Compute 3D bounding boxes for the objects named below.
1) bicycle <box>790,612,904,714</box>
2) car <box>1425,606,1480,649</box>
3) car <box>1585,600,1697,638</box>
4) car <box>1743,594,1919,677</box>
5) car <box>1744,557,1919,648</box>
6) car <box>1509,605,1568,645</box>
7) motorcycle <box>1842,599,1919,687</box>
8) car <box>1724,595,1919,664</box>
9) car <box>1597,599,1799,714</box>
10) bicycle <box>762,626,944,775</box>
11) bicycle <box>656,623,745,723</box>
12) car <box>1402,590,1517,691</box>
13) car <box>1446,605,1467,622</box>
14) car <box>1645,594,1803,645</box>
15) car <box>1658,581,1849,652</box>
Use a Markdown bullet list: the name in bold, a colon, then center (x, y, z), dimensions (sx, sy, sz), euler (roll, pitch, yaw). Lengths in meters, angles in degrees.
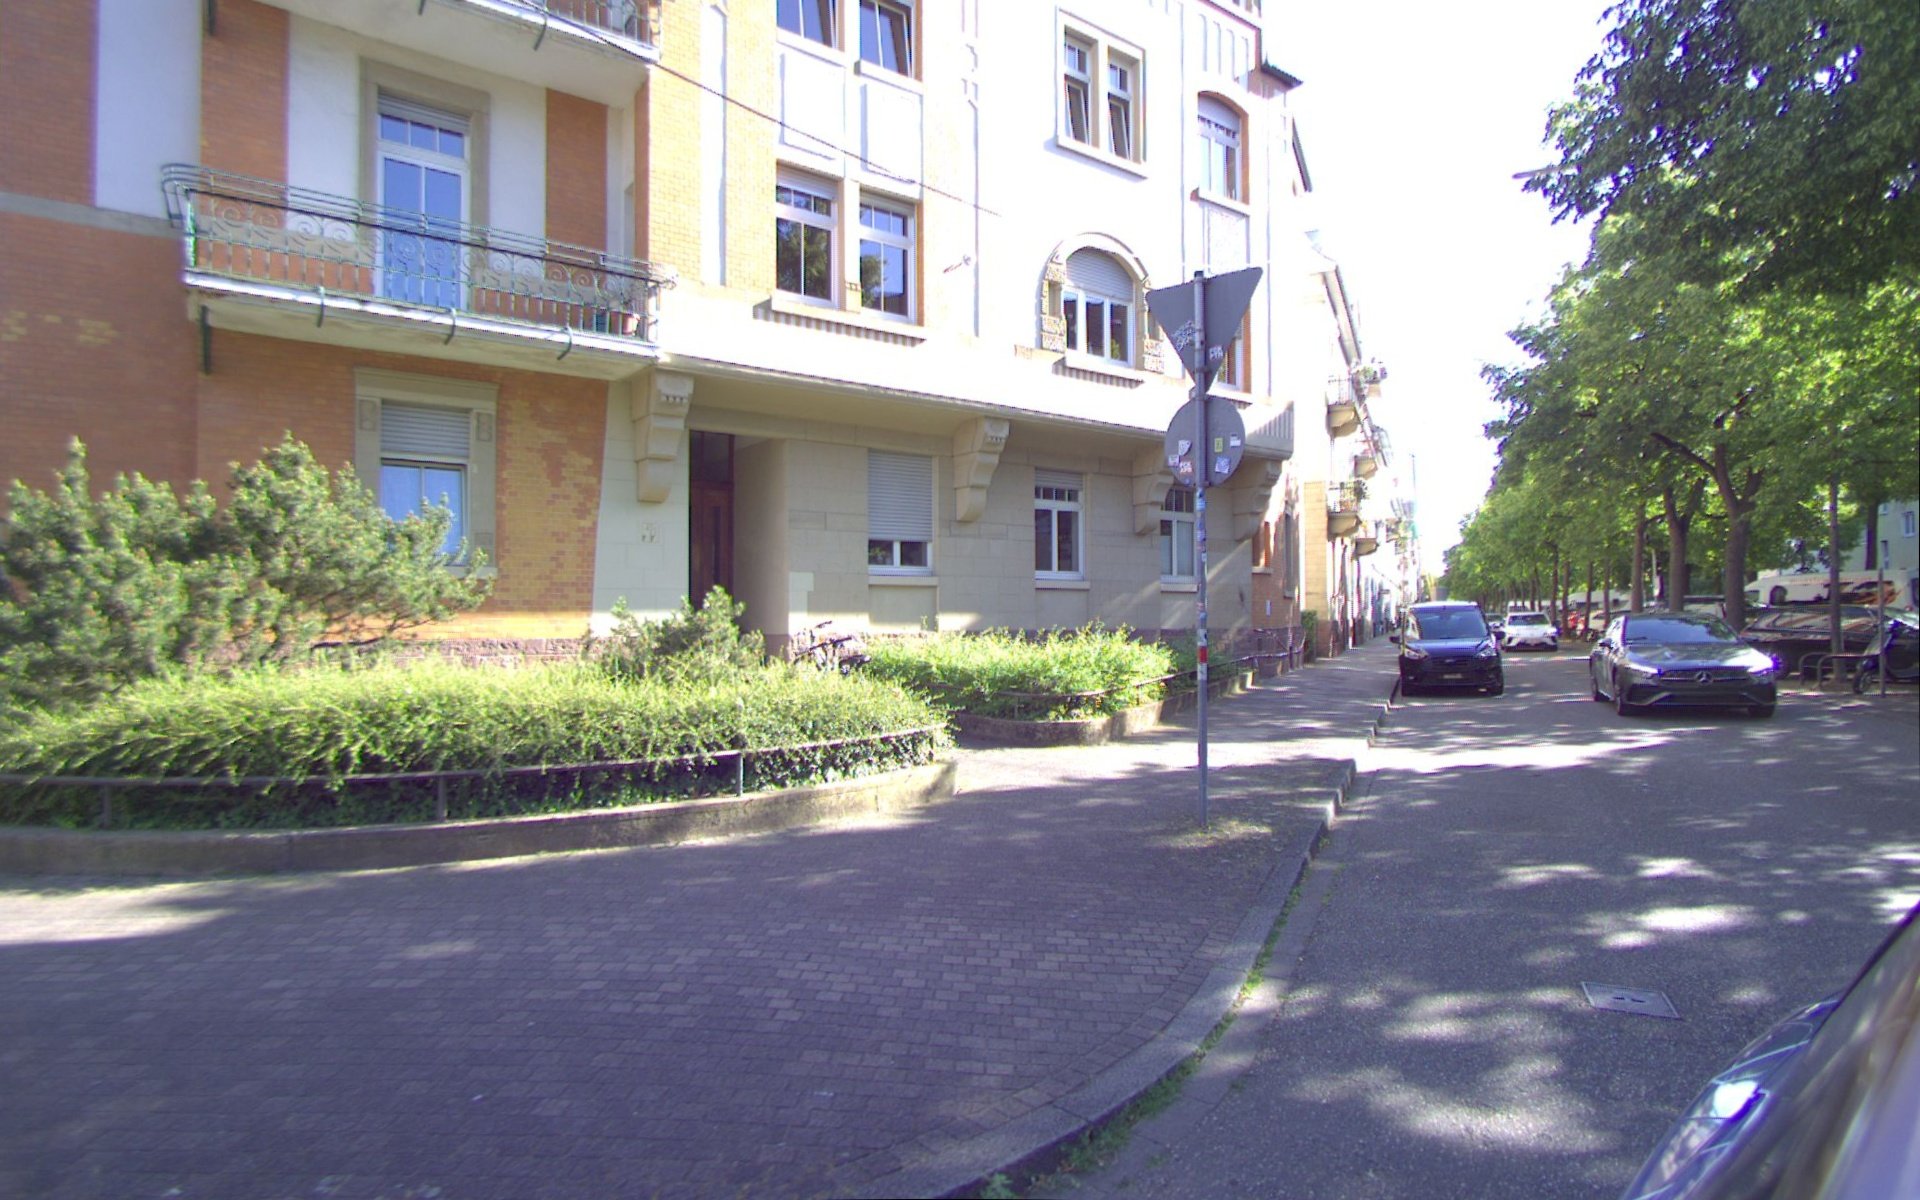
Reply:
- **bicycle**: center (-1.506, 0.778, 13.249), dimensions (0.584, 1.227, 1.798), euler (1, -1, -40)
- **car**: center (19.604, 1.066, 40.233), dimensions (1.781, 1.576, 4.167), euler (-3, -2, 27)
- **car**: center (31.827, 0.887, 47.373), dimensions (1.790, 1.708, 3.995), euler (1, -1, -39)
- **car**: center (17.298, 0.633, 18.778), dimensions (1.786, 1.459, 4.006), euler (0, -1, -25)
- **car**: center (26.572, 0.095, 30.211), dimensions (1.947, 2.522, 4.598), euler (0, -1, -30)
- **car**: center (22.403, 0.958, 39.329), dimensions (1.781, 1.453, 4.167), euler (-2, -2, 28)
- **motorcycle**: center (15.206, 0.673, 15.984), dimensions (1.770, 1.365, 0.726), euler (0, -1, 9)
- **car**: center (20.673, 0.657, 23.746), dimensions (1.786, 1.472, 4.006), euler (0, -1, -25)
- **car**: center (10.783, 0.764, 15.103), dimensions (1.781, 1.453, 4.167), euler (-2, -2, 28)
- **bicycle**: center (-1.005, 0.828, 9.074), dimensions (0.676, 1.135, 1.941), euler (1, 0, -39)
- **bicycle**: center (-3.163, 0.840, 12.236), dimensions (0.490, 1.085, 1.674), euler (1, 0, -34)
- **car**: center (10.013, 0.781, 20.257), dimensions (1.781, 1.790, 4.167), euler (-3, -2, 27)
- **car**: center (49.540, 1.353, 100.936), dimensions (1.781, 1.576, 4.167), euler (-3, -2, 27)
- **car**: center (26.507, 0.656, 35.259), dimensions (1.786, 1.654, 4.006), euler (0, -1, -25)
- **car**: center (23.134, 0.468, 29.675), dimensions (1.786, 1.922, 4.006), euler (0, -1, -25)
